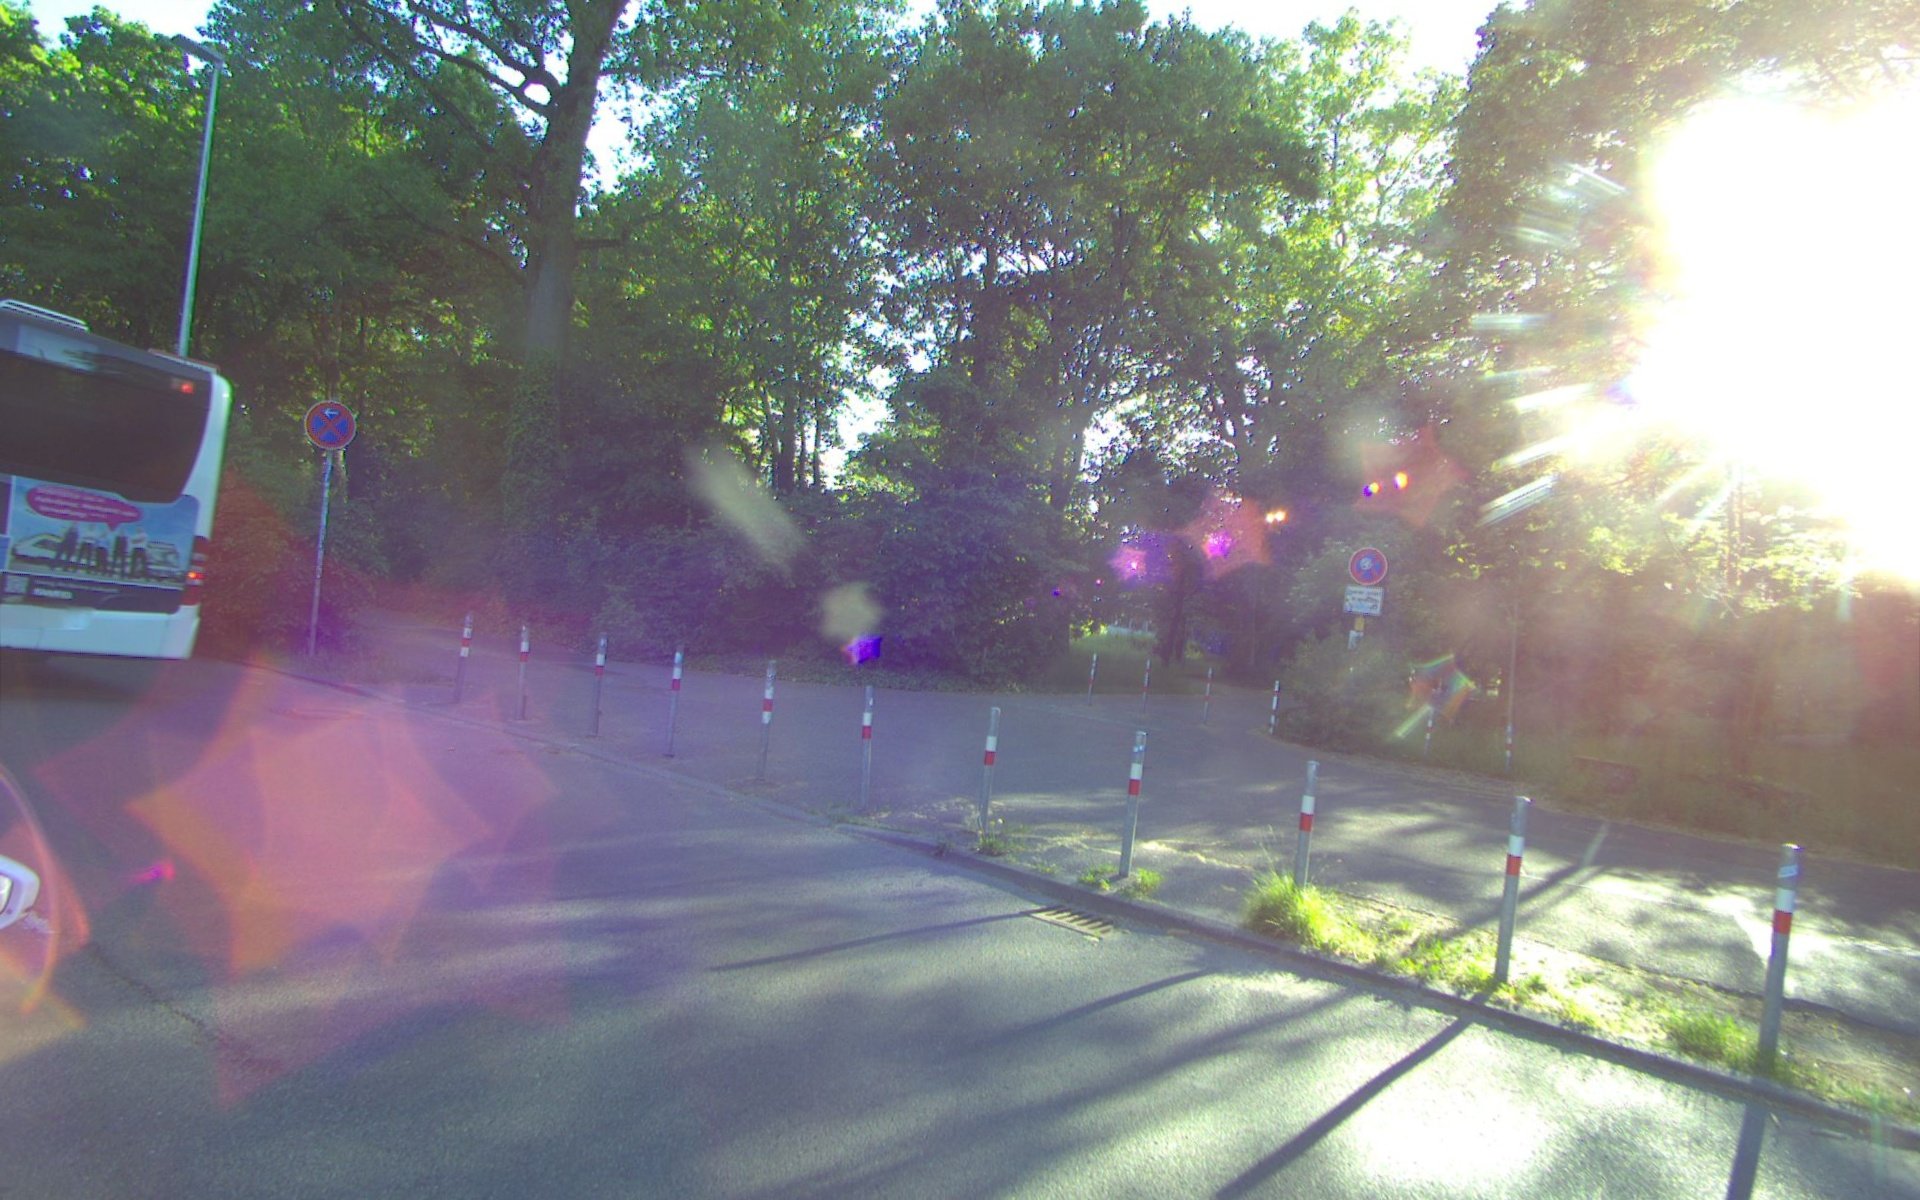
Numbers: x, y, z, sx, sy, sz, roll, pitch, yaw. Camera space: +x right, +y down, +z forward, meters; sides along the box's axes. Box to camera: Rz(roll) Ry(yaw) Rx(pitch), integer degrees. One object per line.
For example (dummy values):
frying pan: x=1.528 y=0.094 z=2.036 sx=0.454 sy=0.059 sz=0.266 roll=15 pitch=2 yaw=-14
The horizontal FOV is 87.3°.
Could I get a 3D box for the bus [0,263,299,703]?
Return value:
bus: x=-11.813 y=-1.336 z=10.700 sx=12.068 sy=3.124 sz=3.017 roll=6 pitch=-1 yaw=32
